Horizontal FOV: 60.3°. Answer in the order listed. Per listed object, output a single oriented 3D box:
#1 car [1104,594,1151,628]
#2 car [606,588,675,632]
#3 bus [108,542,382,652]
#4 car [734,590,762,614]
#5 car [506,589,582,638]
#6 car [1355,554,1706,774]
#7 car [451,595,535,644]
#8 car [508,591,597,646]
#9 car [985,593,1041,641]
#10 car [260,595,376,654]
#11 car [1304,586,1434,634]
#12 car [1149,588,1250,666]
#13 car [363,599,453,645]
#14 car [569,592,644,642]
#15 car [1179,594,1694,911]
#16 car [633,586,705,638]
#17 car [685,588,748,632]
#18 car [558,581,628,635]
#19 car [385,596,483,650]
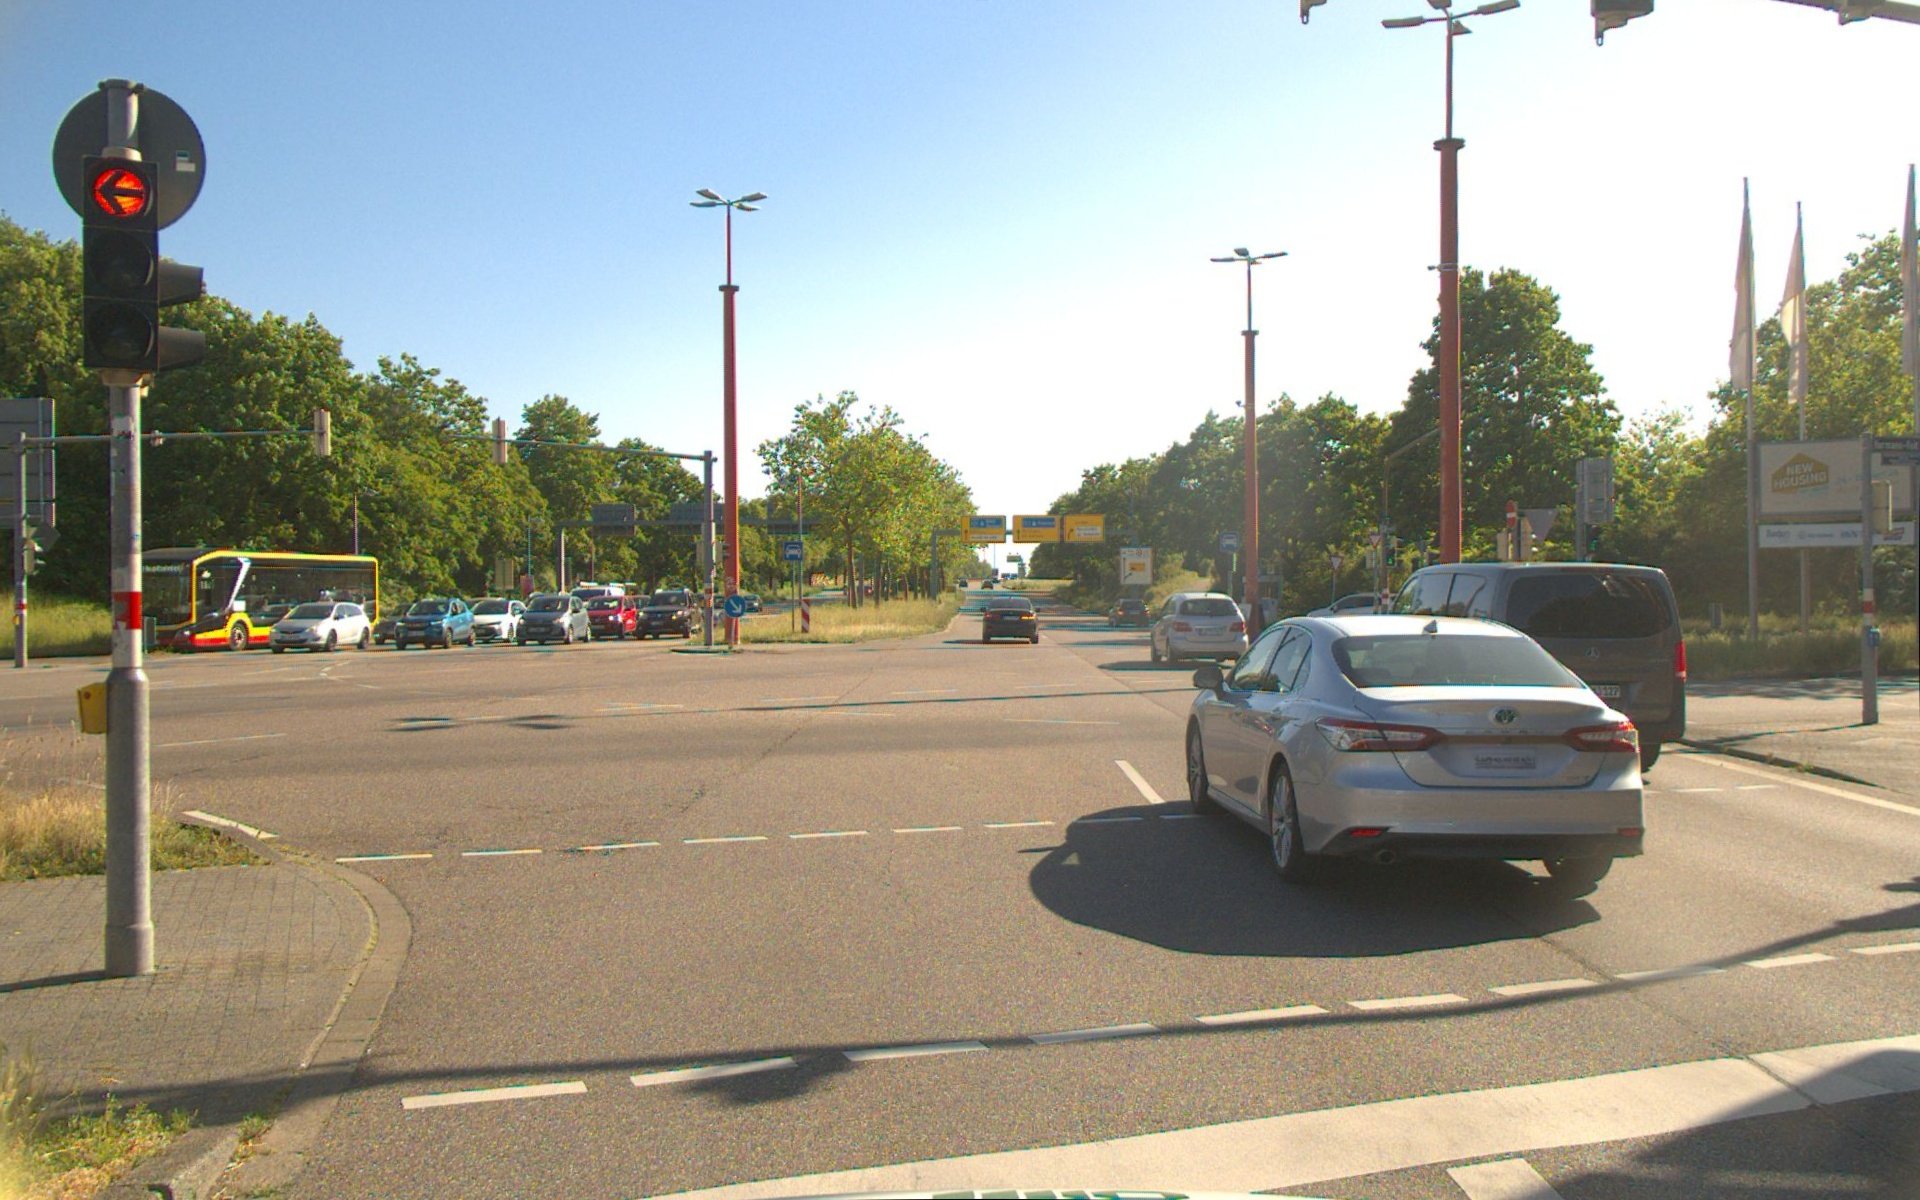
[{"bbox_3d":[8.626,0.556,85.317,1.729,1.664,4.295,1,0,-3],"label":"car"},{"bbox_3d":[-12.410,0.366,64.419,1.862,1.658,4.000,0,0,1],"label":"car"},{"bbox_3d":[-24.166,-0.063,57.060,2.589,3.318,12.545,1,0,7],"label":"bus"},{"bbox_3d":[-18.243,0.139,142.276,1.881,2.034,4.602,0,0,-1],"label":"car"},{"bbox_3d":[-15.927,0.494,63.510,1.835,1.815,4.000,-1,0,1],"label":"car"},{"bbox_3d":[5.549,0.542,16.857,1.767,1.884,5.102,-1,0,0],"label":"car"},{"bbox_3d":[-16.037,0.662,57.016,1.863,1.582,3.998,-1,0,-2],"label":"car"},{"bbox_3d":[-12.774,0.550,52.076,1.836,1.577,4.027,-2,1,-1],"label":"car"},{"bbox_3d":[1.706,0.546,53.788,1.727,1.466,4.295,1,0,1],"label":"car"},{"bbox_3d":[-19.547,0.736,50.529,1.838,1.681,4.219,-1,0,0],"label":"car"},{"bbox_3d":[14.717,0.361,59.666,4.216,1.664,1.761,0,0,39],"label":"car"},{"bbox_3d":[5.386,0.589,37.544,1.681,1.636,3.846,1,0,-1],"label":"car"},{"bbox_3d":[-19.893,0.773,59.782,1.846,1.539,4.000,-1,0,0],"label":"car"},{"bbox_3d":[-12.451,0.582,58.419,1.838,1.579,3.998,-3,0,-2],"label":"car"},{"bbox_3d":[2.639,0.756,10.410,1.768,1.519,4.680,1,0,-2],"label":"car"},{"bbox_3d":[-9.843,0.384,56.199,1.757,1.654,4.142,-2,0,-2],"label":"car"},{"bbox_3d":[-9.355,0.373,63.685,1.847,1.570,3.999,-2,0,-1],"label":"car"},{"bbox_3d":[-15.626,0.329,70.575,1.922,2.193,5.080,-1,0,-1],"label":"car"},{"bbox_3d":[-16.108,0.681,50.864,1.764,1.542,3.858,-2,0,0],"label":"car"}]
